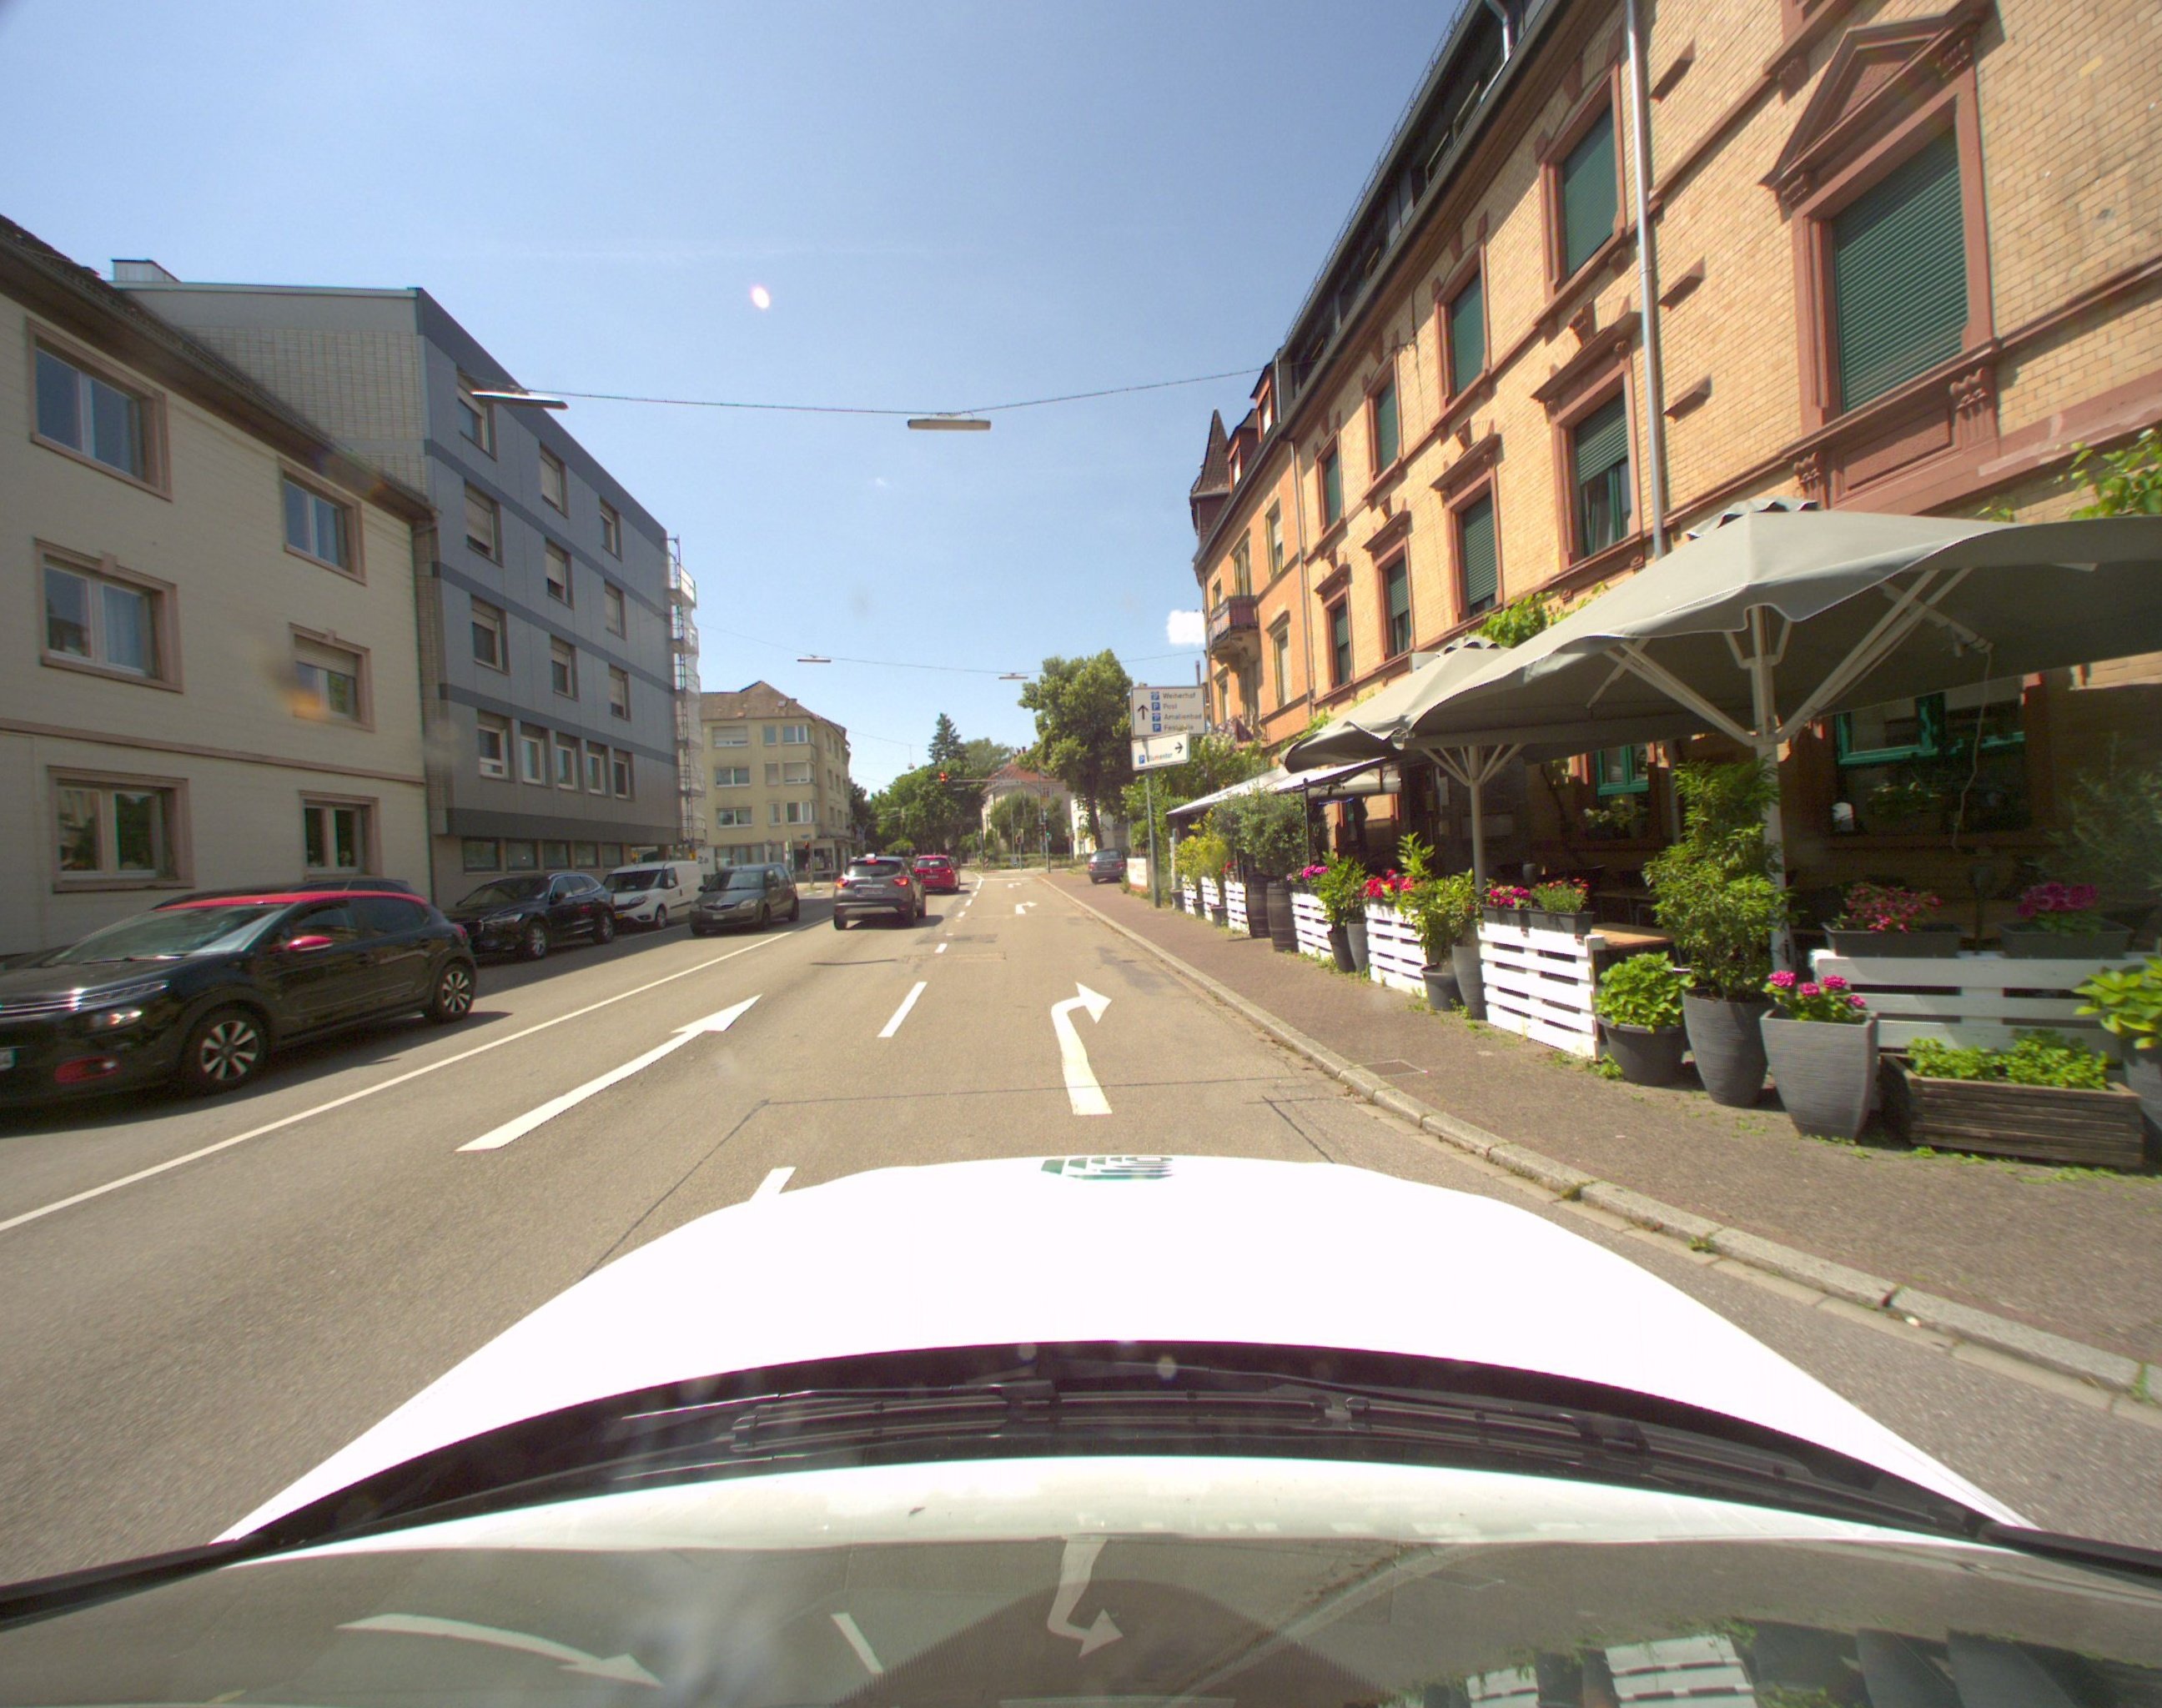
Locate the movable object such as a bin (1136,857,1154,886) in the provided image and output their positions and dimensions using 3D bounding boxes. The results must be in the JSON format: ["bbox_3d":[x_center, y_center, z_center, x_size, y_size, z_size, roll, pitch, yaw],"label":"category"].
[{"bbox_3d":[2.461,0.681,31.378,0.646,1.071,0.637,-3,0,4],"label":"movable object such as a bin"}]

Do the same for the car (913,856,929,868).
[{"bbox_3d":[-27.108,1.359,137.815,1.999,1.906,3.975,-2,0,-19],"label":"car"}]

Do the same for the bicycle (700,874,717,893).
[{"bbox_3d":[-19.912,1.568,43.563,0.397,0.967,1.712,-2,0,-10],"label":"bicycle"}]

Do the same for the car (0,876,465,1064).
[{"bbox_3d":[-10.506,1.222,10.369,1.882,1.641,4.808,-4,0,-5],"label":"car"}]

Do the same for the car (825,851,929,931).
[{"bbox_3d":[-4.714,0.787,19.347,1.751,1.632,3.993,-2,0,-5],"label":"car"}]

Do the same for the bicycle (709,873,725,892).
[{"bbox_3d":[-20.264,1.580,45.373,0.397,0.967,1.740,-2,0,-10],"label":"bicycle"}]

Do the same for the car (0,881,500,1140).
[{"bbox_3d":[-7.352,1.095,7.186,1.699,1.478,4.125,-4,0,-6],"label":"car"}]

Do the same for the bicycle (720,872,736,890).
[{"bbox_3d":[-20.579,1.570,47.461,0.397,0.967,1.777,-2,0,-10],"label":"bicycle"}]

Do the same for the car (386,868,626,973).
[{"bbox_3d":[-11.263,1.183,16.463,1.883,1.641,4.651,-4,0,-7],"label":"car"}]

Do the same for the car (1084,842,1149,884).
[{"bbox_3d":[1.681,0.341,36.443,1.821,1.548,5.177,-4,1,14],"label":"car"}]

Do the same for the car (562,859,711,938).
[{"bbox_3d":[-12.144,1.118,22.684,1.912,1.825,4.776,-4,0,-7],"label":"car"}]

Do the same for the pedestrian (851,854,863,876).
[{"bbox_3d":[-19.967,0.959,72.483,0.938,1.931,0.971,-3,0,-18],"label":"pedestrian"}]

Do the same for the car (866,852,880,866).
[{"bbox_3d":[-41.476,1.116,162.421,2.221,2.500,7.513,-6,1,-16],"label":"car"}]

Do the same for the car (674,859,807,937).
[{"bbox_3d":[-8.179,0.973,19.983,1.699,1.574,4.303,-4,0,-6],"label":"car"}]

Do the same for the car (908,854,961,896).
[{"bbox_3d":[-6.016,0.819,33.733,1.796,1.558,4.029,-2,0,-6],"label":"car"}]
